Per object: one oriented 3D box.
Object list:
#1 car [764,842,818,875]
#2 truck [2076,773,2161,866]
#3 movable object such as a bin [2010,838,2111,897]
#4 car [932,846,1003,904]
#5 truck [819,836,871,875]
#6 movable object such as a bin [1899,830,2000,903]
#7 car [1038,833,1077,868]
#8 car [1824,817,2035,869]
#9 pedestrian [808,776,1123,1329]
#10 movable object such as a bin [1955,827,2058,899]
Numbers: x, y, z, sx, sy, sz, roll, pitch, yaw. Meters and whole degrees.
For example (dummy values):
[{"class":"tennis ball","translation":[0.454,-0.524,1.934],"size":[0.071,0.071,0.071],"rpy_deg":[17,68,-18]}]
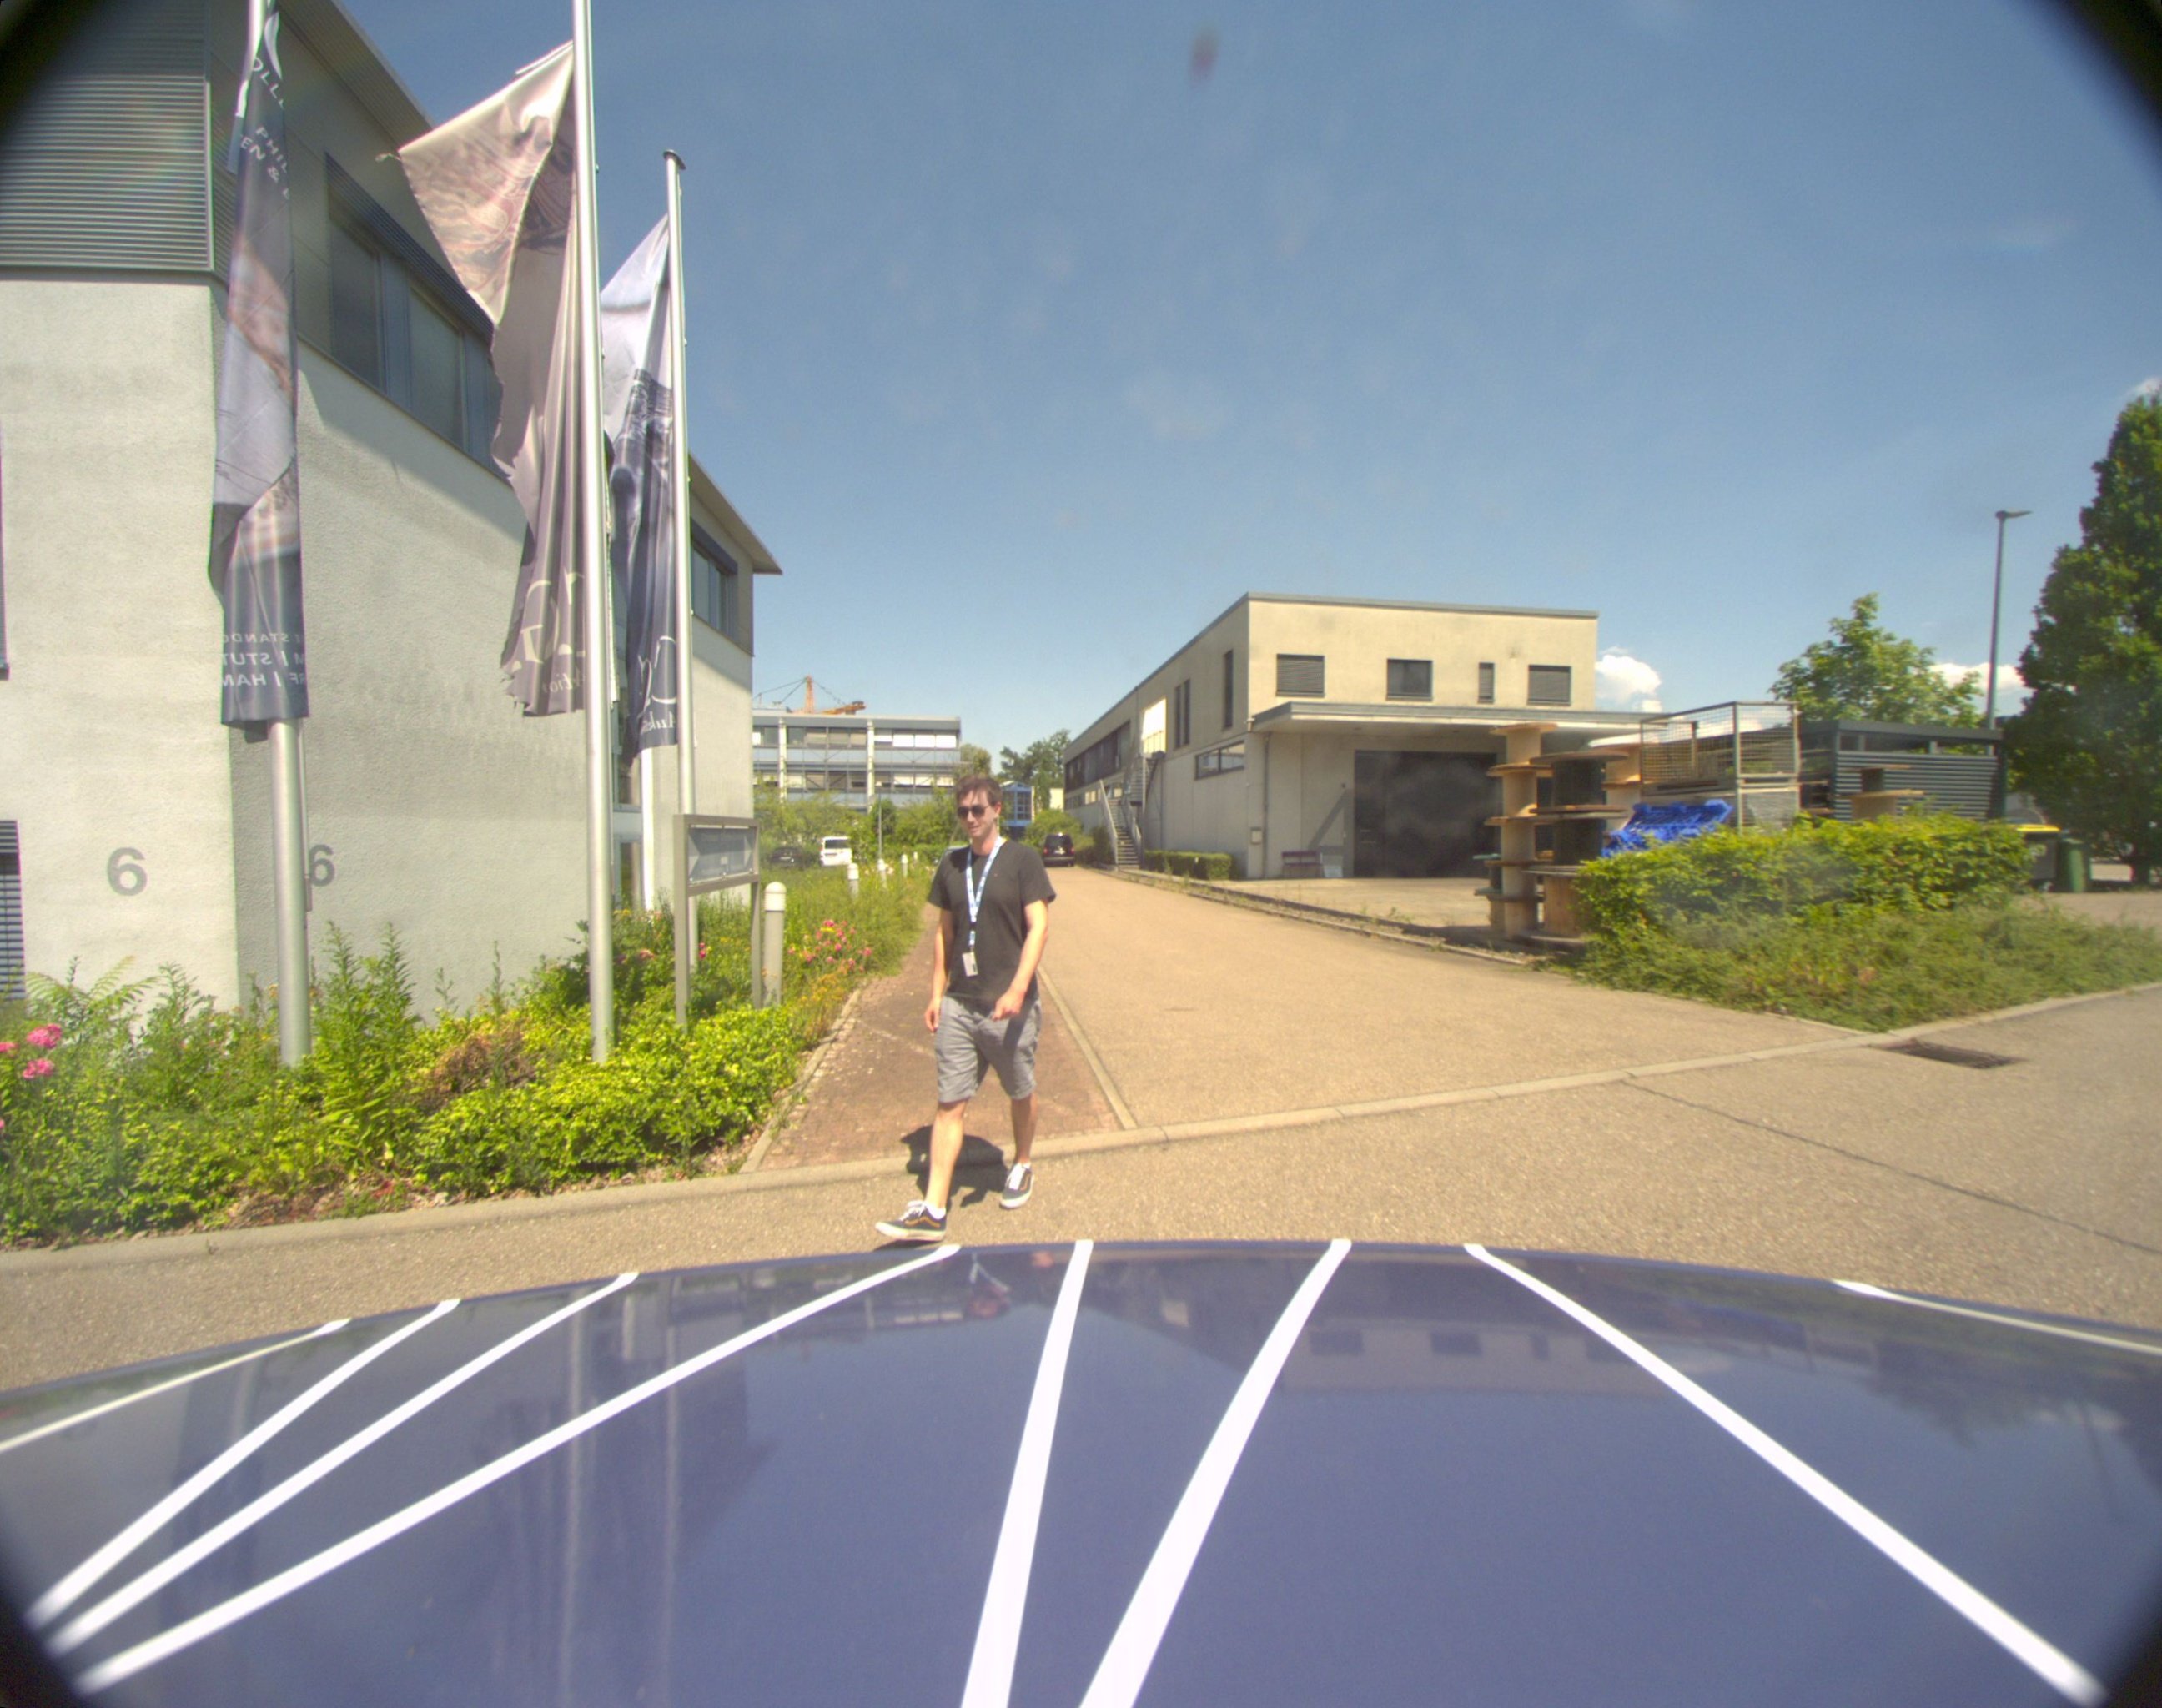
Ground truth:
[{"class":"car","translation":[-15.133,0.198,39.831],"size":[1.789,1.537,3.995],"rpy_deg":[-2,2,-8]},{"class":"truck","translation":[33.545,-1.069,22.554],"size":[5.698,2.657,2.416],"rpy_deg":[-2,2,-9]},{"class":"movable object such as a bin","translation":[18.952,0.252,14.722],"size":[0.988,1.078,0.759],"rpy_deg":[-2,2,-4]},{"class":"car","translation":[-3.056,0.510,21.155],"size":[1.712,1.383,3.808],"rpy_deg":[-1,2,-5]},{"class":"truck","translation":[-12.224,0.014,39.593],"size":[2.000,1.883,3.995],"rpy_deg":[-2,2,-10]},{"class":"movable object such as a bin","translation":[16.507,0.229,14.463],"size":[1.072,1.329,0.759],"rpy_deg":[-2,2,-4]},{"class":"car","translation":[-1.334,-0.266,42.164],"size":[1.788,1.794,3.996],"rpy_deg":[-2,2,-7]},{"class":"car","translation":[27.564,-0.376,24.936],"size":[1.959,1.505,4.256],"rpy_deg":[-1,1,-6]},{"class":"pedestrian","translation":[-0.395,0.647,3.032],"size":[0.859,1.810,0.906],"rpy_deg":[-1,2,20]},{"class":"movable object such as a bin","translation":[17.843,0.155,14.669],"size":[1.072,1.329,0.759],"rpy_deg":[-2,2,-4]}]
